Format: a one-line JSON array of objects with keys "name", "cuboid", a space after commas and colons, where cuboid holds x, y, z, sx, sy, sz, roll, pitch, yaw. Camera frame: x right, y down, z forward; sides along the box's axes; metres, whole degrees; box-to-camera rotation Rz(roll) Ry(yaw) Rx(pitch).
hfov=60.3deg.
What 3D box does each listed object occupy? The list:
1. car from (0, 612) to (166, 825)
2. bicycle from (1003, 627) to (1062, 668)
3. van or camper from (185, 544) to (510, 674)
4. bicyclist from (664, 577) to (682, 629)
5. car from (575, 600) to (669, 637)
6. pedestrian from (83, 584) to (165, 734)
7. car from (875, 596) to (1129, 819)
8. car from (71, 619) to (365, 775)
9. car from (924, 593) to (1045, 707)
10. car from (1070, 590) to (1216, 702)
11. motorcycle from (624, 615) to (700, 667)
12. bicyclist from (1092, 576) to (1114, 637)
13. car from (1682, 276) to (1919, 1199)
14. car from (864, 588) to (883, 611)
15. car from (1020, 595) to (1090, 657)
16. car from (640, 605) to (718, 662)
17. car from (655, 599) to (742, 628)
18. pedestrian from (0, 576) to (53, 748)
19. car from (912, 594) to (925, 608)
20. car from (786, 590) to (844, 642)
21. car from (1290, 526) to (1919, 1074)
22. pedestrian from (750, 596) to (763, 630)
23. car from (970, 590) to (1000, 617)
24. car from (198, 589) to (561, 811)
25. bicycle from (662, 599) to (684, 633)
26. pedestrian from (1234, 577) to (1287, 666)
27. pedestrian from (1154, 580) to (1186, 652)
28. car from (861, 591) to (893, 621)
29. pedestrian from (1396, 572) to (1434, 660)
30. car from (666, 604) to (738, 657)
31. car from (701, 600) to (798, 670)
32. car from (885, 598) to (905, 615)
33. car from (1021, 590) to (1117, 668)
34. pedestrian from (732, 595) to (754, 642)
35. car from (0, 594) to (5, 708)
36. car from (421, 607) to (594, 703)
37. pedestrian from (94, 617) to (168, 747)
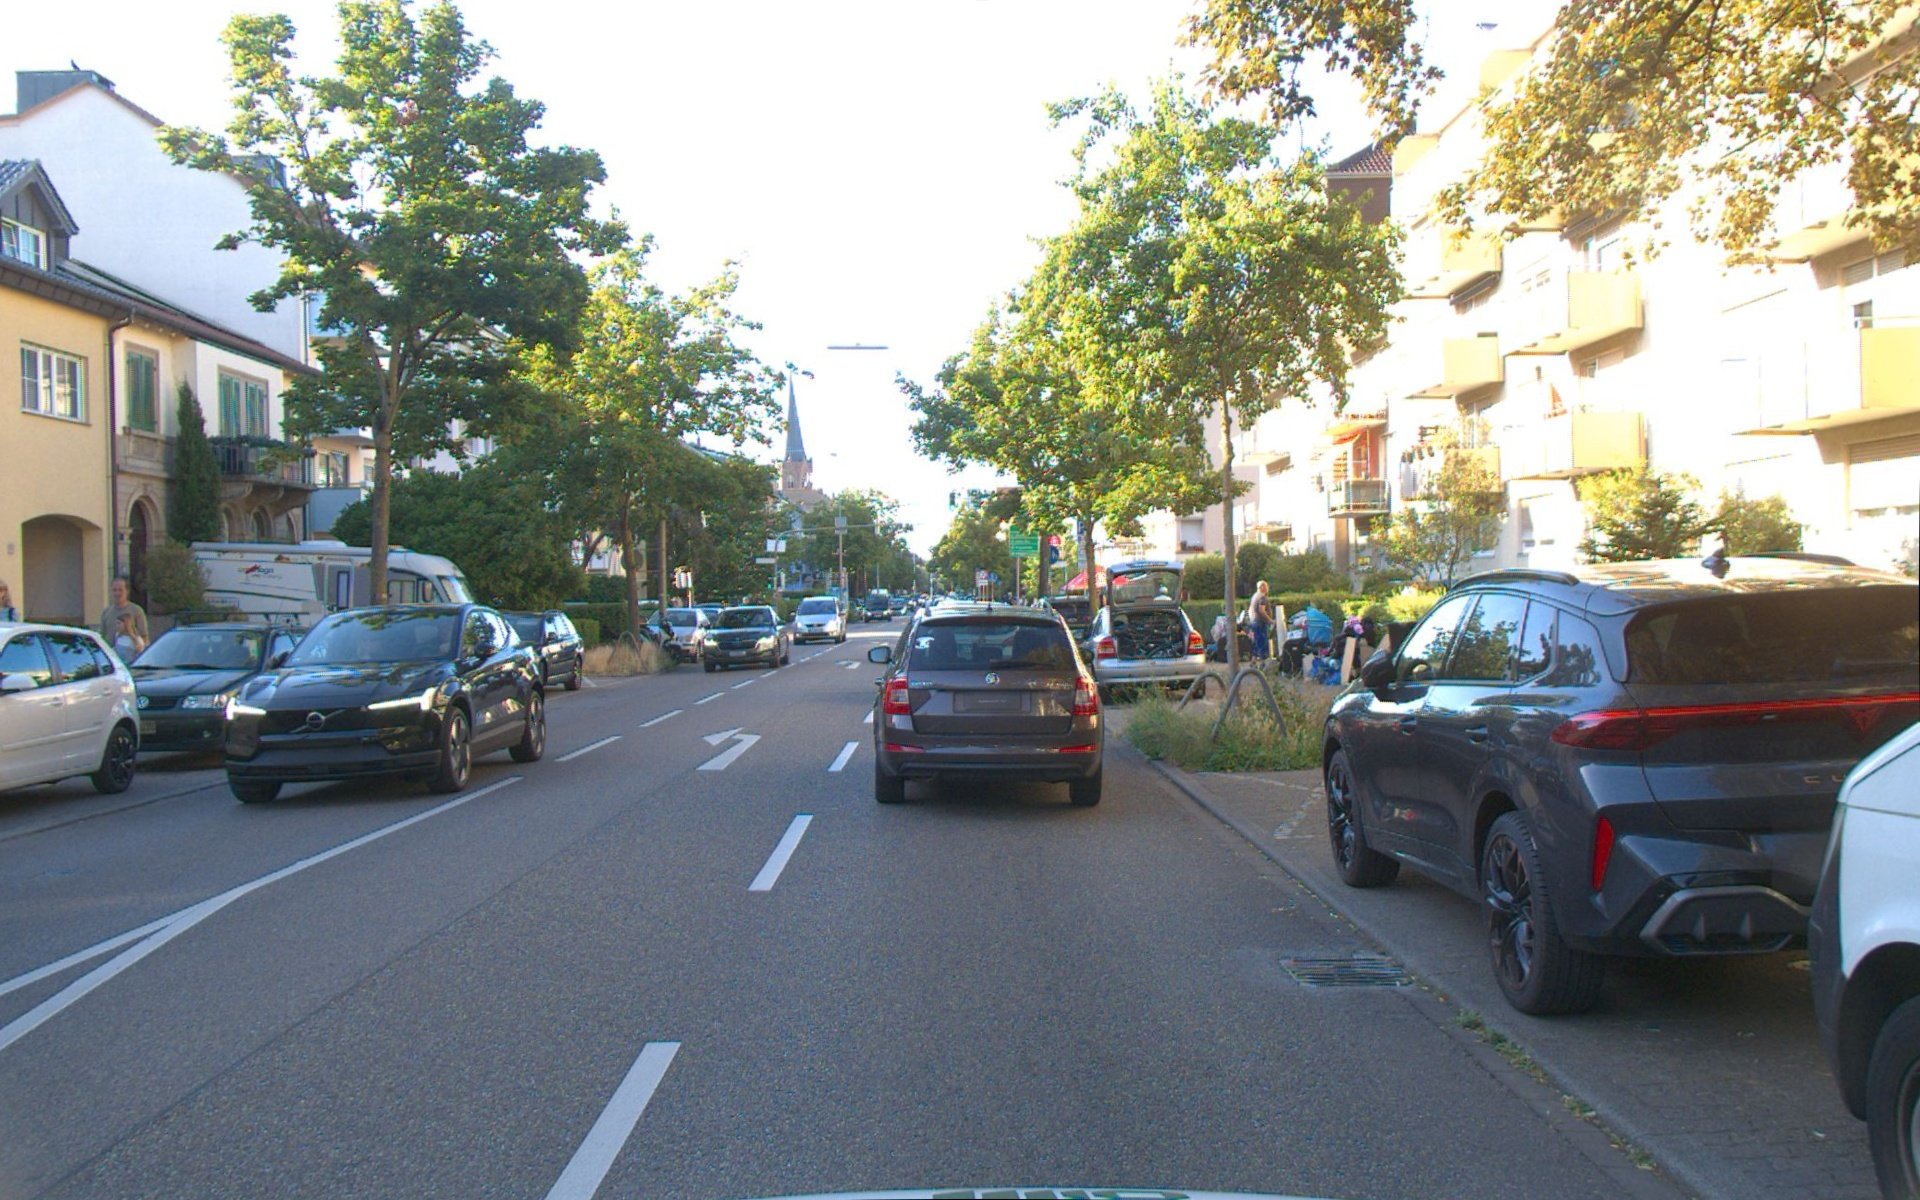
[{"name": "car", "cuboid": [-7.887, 0.900, 12.926, 1.561, 1.550, 3.889, -1, 0, -2]}, {"name": "bicycle", "cuboid": [2.333, 1.520, 53.325, 1.796, 1.178, 0.684, -4, 0, 6]}, {"name": "van or camper", "cuboid": [-14.218, 0.207, 38.715, 6.660, 2.821, 2.351, 1, 0, -2]}, {"name": "bicyclist", "cuboid": [-9.551, 0.097, 55.017, 0.459, 1.692, 0.552, -1, 0, -2]}, {"name": "car", "cuboid": [-17.682, 0.948, 86.621, 4.540, 1.843, 1.861, -1, 0, -1]}, {"name": "pedestrian", "cuboid": [-10.435, 0.729, 20.659, 0.699, 1.824, 0.572, -1, 0, 2]}, {"name": "car", "cuboid": [0.250, 0.727, 13.430, 1.737, 1.515, 4.310, 0, 0, -1]}, {"name": "car", "cuboid": [-7.778, 0.955, 17.697, 1.511, 1.421, 3.665, -1, 0, -1]}, {"name": "car", "cuboid": [0.363, 0.713, 25.535, 1.701, 1.598, 4.000, 1, 0, 0]}, {"name": "car", "cuboid": [2.759, 0.659, 25.785, 1.673, 1.506, 4.267, -3, 0, -1]}, {"name": "motorcycle", "cuboid": [-7.706, 1.057, 42.709, 2.015, 1.287, 0.764, -2, 0, 38]}, {"name": "bicyclist", "cuboid": [4.355, 0.192, 50.464, 0.569, 1.820, 0.852, -1, 0, -1]}, {"name": "car", "cuboid": [2.924, 0.403, 2.042, 1.865, 2.140, 4.639, -1, 0, -2]}, {"name": "car", "cuboid": [-9.726, -0.030, 185.667, 1.953, 2.521, 3.999, -1, 0, -1]}, {"name": "car", "cuboid": [2.468, 0.660, 43.802, 1.668, 1.475, 4.014, -3, 0, 2]}, {"name": "car", "cuboid": [-7.872, 0.922, 46.613, 1.561, 1.496, 3.803, 1, 0, 0]}, {"name": "car", "cuboid": [-14.636, 0.749, 92.715, 4.540, 1.562, 1.861, 0, 0, -1]}, {"name": "pedestrian", "cuboid": [-10.276, 0.660, 17.813, 0.699, 1.824, 0.506, -1, 0, 2]}, {"name": "car", "cuboid": [-6.472, 0.113, 256.986, 1.953, 2.049, 4.000, -1, 0, 0]}, {"name": "car", "cuboid": [-5.450, 0.585, 62.606, 1.769, 1.836, 4.744, -3, 0, -1]}, {"name": "car", "cuboid": [2.875, 0.592, 7.307, 1.818, 1.631, 4.310, -4, 0, -1]}, {"name": "pedestrian", "cuboid": [-11.011, 0.699, 89.475, 0.603, 1.828, 0.504, -1, 0, 0]}, {"name": "car", "cuboid": [1.726, 0.228, 113.194, 1.952, 1.803, 4.001, 1, 0, 2]}, {"name": "car", "cuboid": [-4.940, 0.780, 14.697, 1.798, 1.597, 3.999, -3, 0, -1]}, {"name": "bicycle", "cuboid": [-9.553, 0.529, 55.120, 0.476, 1.083, 1.534, -1, 0, -1]}, {"name": "pedestrian", "cuboid": [5.689, 0.402, 31.294, 0.742, 1.668, 0.693, -1, 0, 36]}, {"name": "pedestrian", "cuboid": [5.339, 0.405, 42.070, 0.649, 1.779, 0.772, -3, 0, 0]}, {"name": "car", "cuboid": [-5.849, 0.428, 116.955, 1.953, 1.942, 4.963, -3, 0, -1]}, {"name": "pedestrian", "cuboid": [8.769, 0.309, 31.885, 0.467, 1.668, 0.533, -1, 0, -20]}, {"name": "car", "cuboid": [-7.915, 0.916, 51.045, 1.615, 1.544, 4.073, 0, 0, 0]}, {"name": "car", "cuboid": [-5.036, 0.806, 40.113, 1.725, 1.477, 4.533, -3, 0, -1]}, {"name": "car", "cuboid": [-6.213, 0.600, 158.573, 1.793, 1.607, 3.999, -2, 0, 0]}, {"name": "car", "cuboid": [2.460, 0.637, 38.176, 1.818, 1.609, 4.012, -3, 0, -1]}, {"name": "pedestrian", "cuboid": [-9.446, 0.791, 71.983, 0.764, 2.022, 0.821, -1, 0, 0]}, {"name": "car", "cuboid": [-16.057, 0.717, 23.466, 3.905, 1.664, 1.866, 1, 0, 0]}, {"name": "car", "cuboid": [-7.858, 0.902, 29.149, 1.829, 1.521, 4.517, 0, 0, 0]}, {"name": "pedestrian", "cuboid": [-9.951, 0.978, 19.860, 0.577, 1.522, 0.542, -1, 0, 2]}]
